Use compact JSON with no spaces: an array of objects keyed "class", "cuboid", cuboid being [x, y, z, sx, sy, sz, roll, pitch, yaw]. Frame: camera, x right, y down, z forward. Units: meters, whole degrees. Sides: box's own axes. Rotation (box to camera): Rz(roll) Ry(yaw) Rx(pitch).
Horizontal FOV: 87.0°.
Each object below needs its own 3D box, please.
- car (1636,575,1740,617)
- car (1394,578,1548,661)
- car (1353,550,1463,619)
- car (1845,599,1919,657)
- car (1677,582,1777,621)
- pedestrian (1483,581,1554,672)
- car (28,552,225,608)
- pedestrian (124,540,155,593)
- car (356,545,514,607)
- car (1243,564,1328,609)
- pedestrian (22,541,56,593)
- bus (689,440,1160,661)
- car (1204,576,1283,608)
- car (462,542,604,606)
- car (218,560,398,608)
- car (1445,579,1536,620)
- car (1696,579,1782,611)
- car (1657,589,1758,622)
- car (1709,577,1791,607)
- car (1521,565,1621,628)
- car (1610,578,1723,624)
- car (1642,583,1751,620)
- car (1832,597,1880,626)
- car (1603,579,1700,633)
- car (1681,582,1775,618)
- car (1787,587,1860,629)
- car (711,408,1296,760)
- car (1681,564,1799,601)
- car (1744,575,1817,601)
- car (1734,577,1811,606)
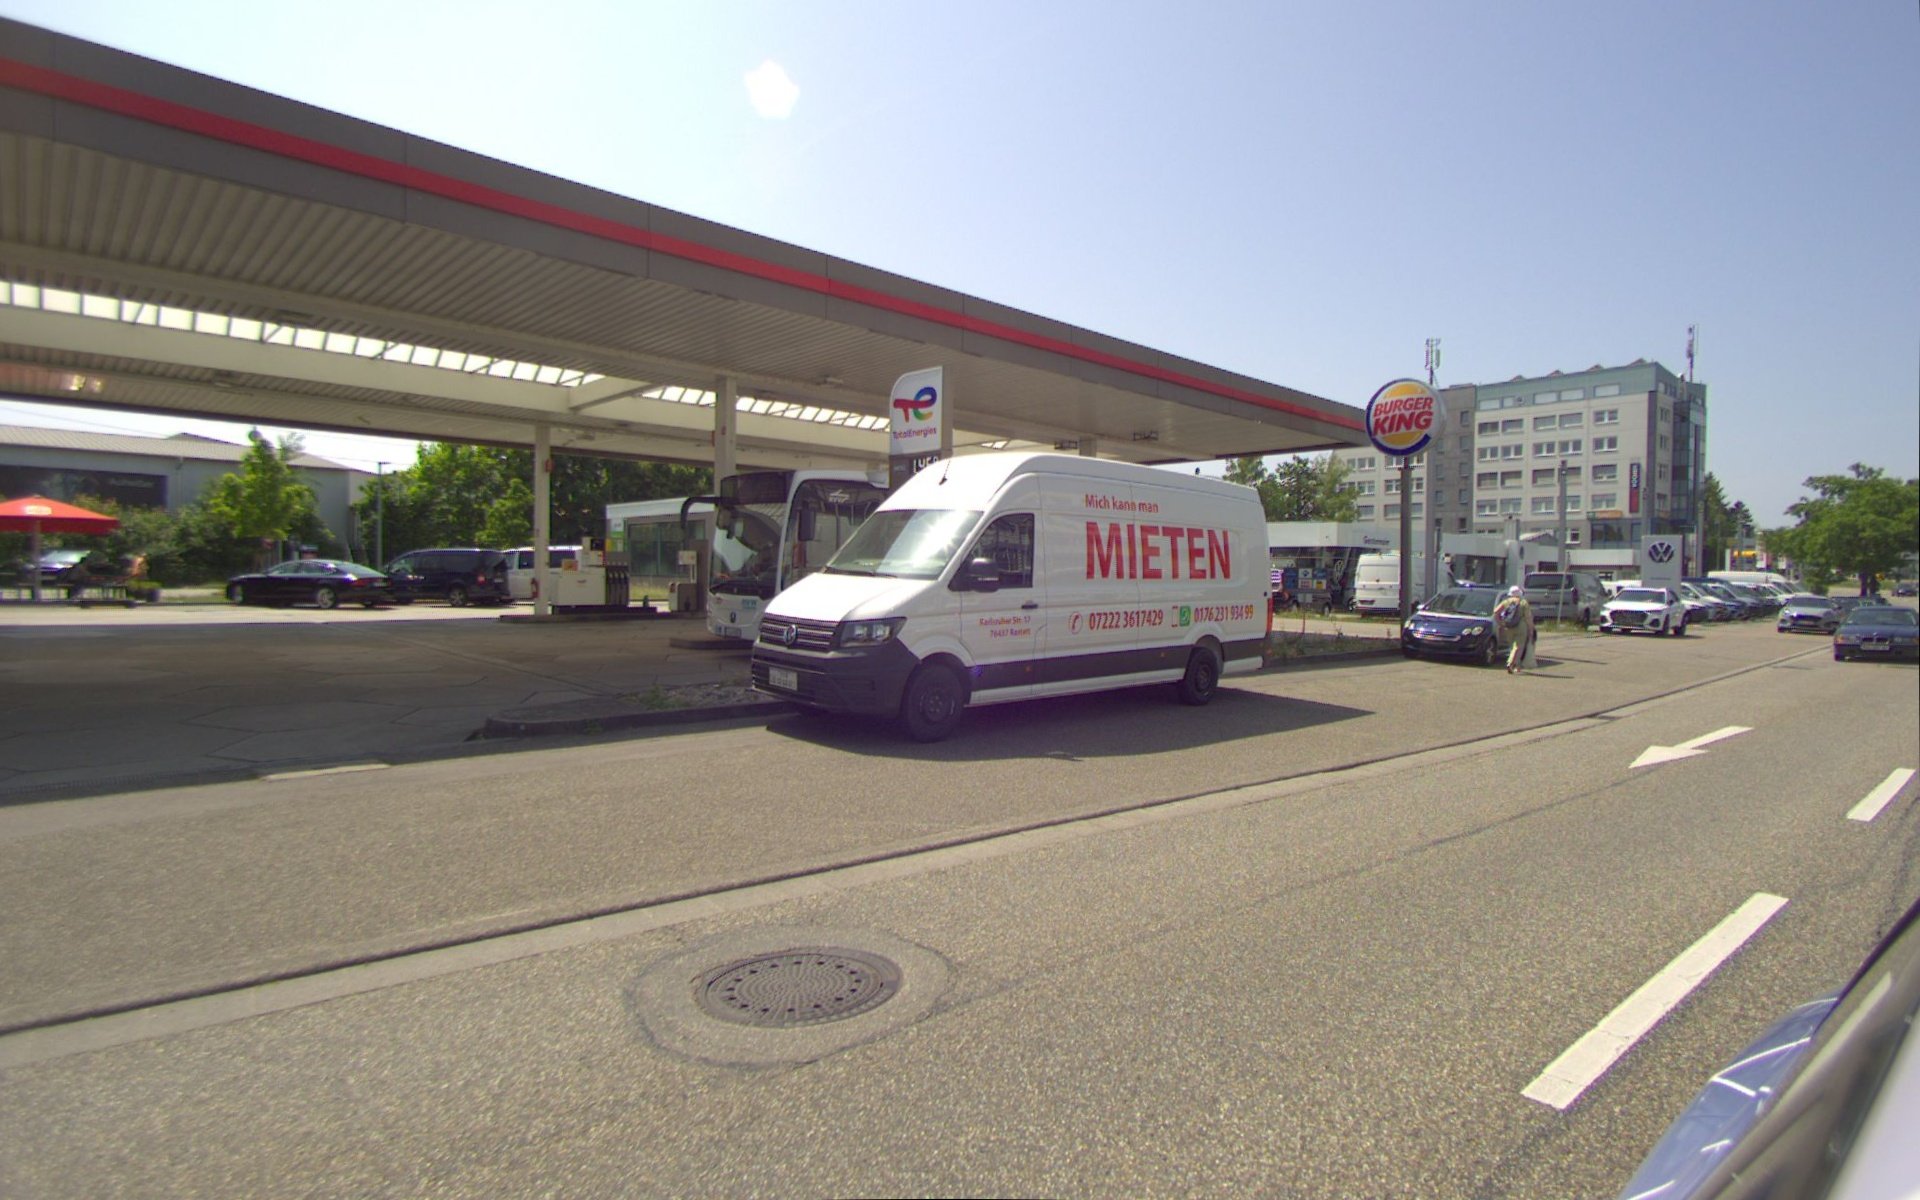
[{"class":"car","cuboid":[36.087,-0.229,50.225,3.986,1.941,1.699,3,2,42]},{"class":"car","cuboid":[10.585,0.345,20.854,3.778,1.466,1.678,0,4,-45]},{"class":"car","cuboid":[17.387,-0.602,39.143,2.054,2.465,5.485,3,2,45]},{"class":"car","cuboid":[23.463,0.666,25.433,1.628,1.356,3.696,0,0,45]},{"class":"car","cuboid":[40.129,0.044,52.996,3.986,1.871,1.699,3,2,42]},{"class":"pedestrian","cuboid":[10.265,0.478,18.619,0.804,1.600,0.706,2,3,-27]},{"class":"car","cuboid":[-23.502,-0.585,28.739,1.969,1.437,3.986,2,1,12]},{"class":"pedestrian","cuboid":[-32.834,-1.330,40.504,0.942,2.055,0.951,0,1,-40]},{"class":"car","cuboid":[-16.717,-0.778,32.312,4.251,1.825,1.714,1,1,7]},{"class":"car","cuboid":[13.911,-0.557,43.177,3.933,1.816,1.750,0,2,-44]},{"class":"pedestrian","cuboid":[-37.072,-1.328,40.747,0.942,2.055,0.951,0,1,-40]},{"class":"bus","cuboid":[-0.218,-0.764,18.637,8.920,3.191,2.754,0,2,-41]},{"class":"car","cuboid":[12.702,-0.373,45.231,3.719,1.321,1.750,0,2,-44]},{"class":"car","cuboid":[-14.523,-0.894,34.503,4.153,2.018,1.715,1,1,6]},{"class":"car","cuboid":[-19.204,-0.491,29.894,4.418,1.274,1.787,1,1,9]},{"class":"car","cuboid":[19.582,-0.048,37.267,3.934,1.393,1.805,0,2,-44]},{"class":"car","cuboid":[47.328,-0.304,61.506,3.986,1.787,1.699,3,2,42]},{"class":"car","cuboid":[38.141,0.254,51.705,3.986,1.467,1.699,3,2,42]},{"class":"car","cuboid":[50.474,-0.514,64.721,3.986,1.787,1.699,3,2,42]},{"class":"car","cuboid":[21.382,-0.140,35.362,3.934,2.038,1.995,0,2,-44]},{"class":"car","cuboid":[32.196,0.008,46.175,3.986,1.942,1.699,3,2,42]},{"class":"car","cuboid":[34.824,0.047,47.907,3.986,1.597,1.699,3,2,42]},{"class":"car","cuboid":[47.249,0.562,53.342,4.147,1.415,1.559,0,2,-45]},{"class":"car","cuboid":[23.127,0.160,33.777,3.934,1.600,1.857,0,3,-44]},{"class":"car","cuboid":[42.096,-0.008,55.520,3.986,1.808,1.699,3,2,42]},{"class":"car","cuboid":[34.580,0.291,40.498,3.934,1.579,1.864,0,2,-44]},{"class":"car","cuboid":[0.973,-0.195,11.367,7.158,2.807,2.180,0,4,-45]},{"class":"car","cuboid":[59.250,-1.341,77.028,1.697,2.636,6.874,0,2,-44]},{"class":"car","cuboid":[58.989,-0.885,72.795,3.986,1.787,1.699,3,2,42]},{"class":"car","cuboid":[55.357,-0.605,68.962,3.986,1.787,1.699,3,2,42]}]
